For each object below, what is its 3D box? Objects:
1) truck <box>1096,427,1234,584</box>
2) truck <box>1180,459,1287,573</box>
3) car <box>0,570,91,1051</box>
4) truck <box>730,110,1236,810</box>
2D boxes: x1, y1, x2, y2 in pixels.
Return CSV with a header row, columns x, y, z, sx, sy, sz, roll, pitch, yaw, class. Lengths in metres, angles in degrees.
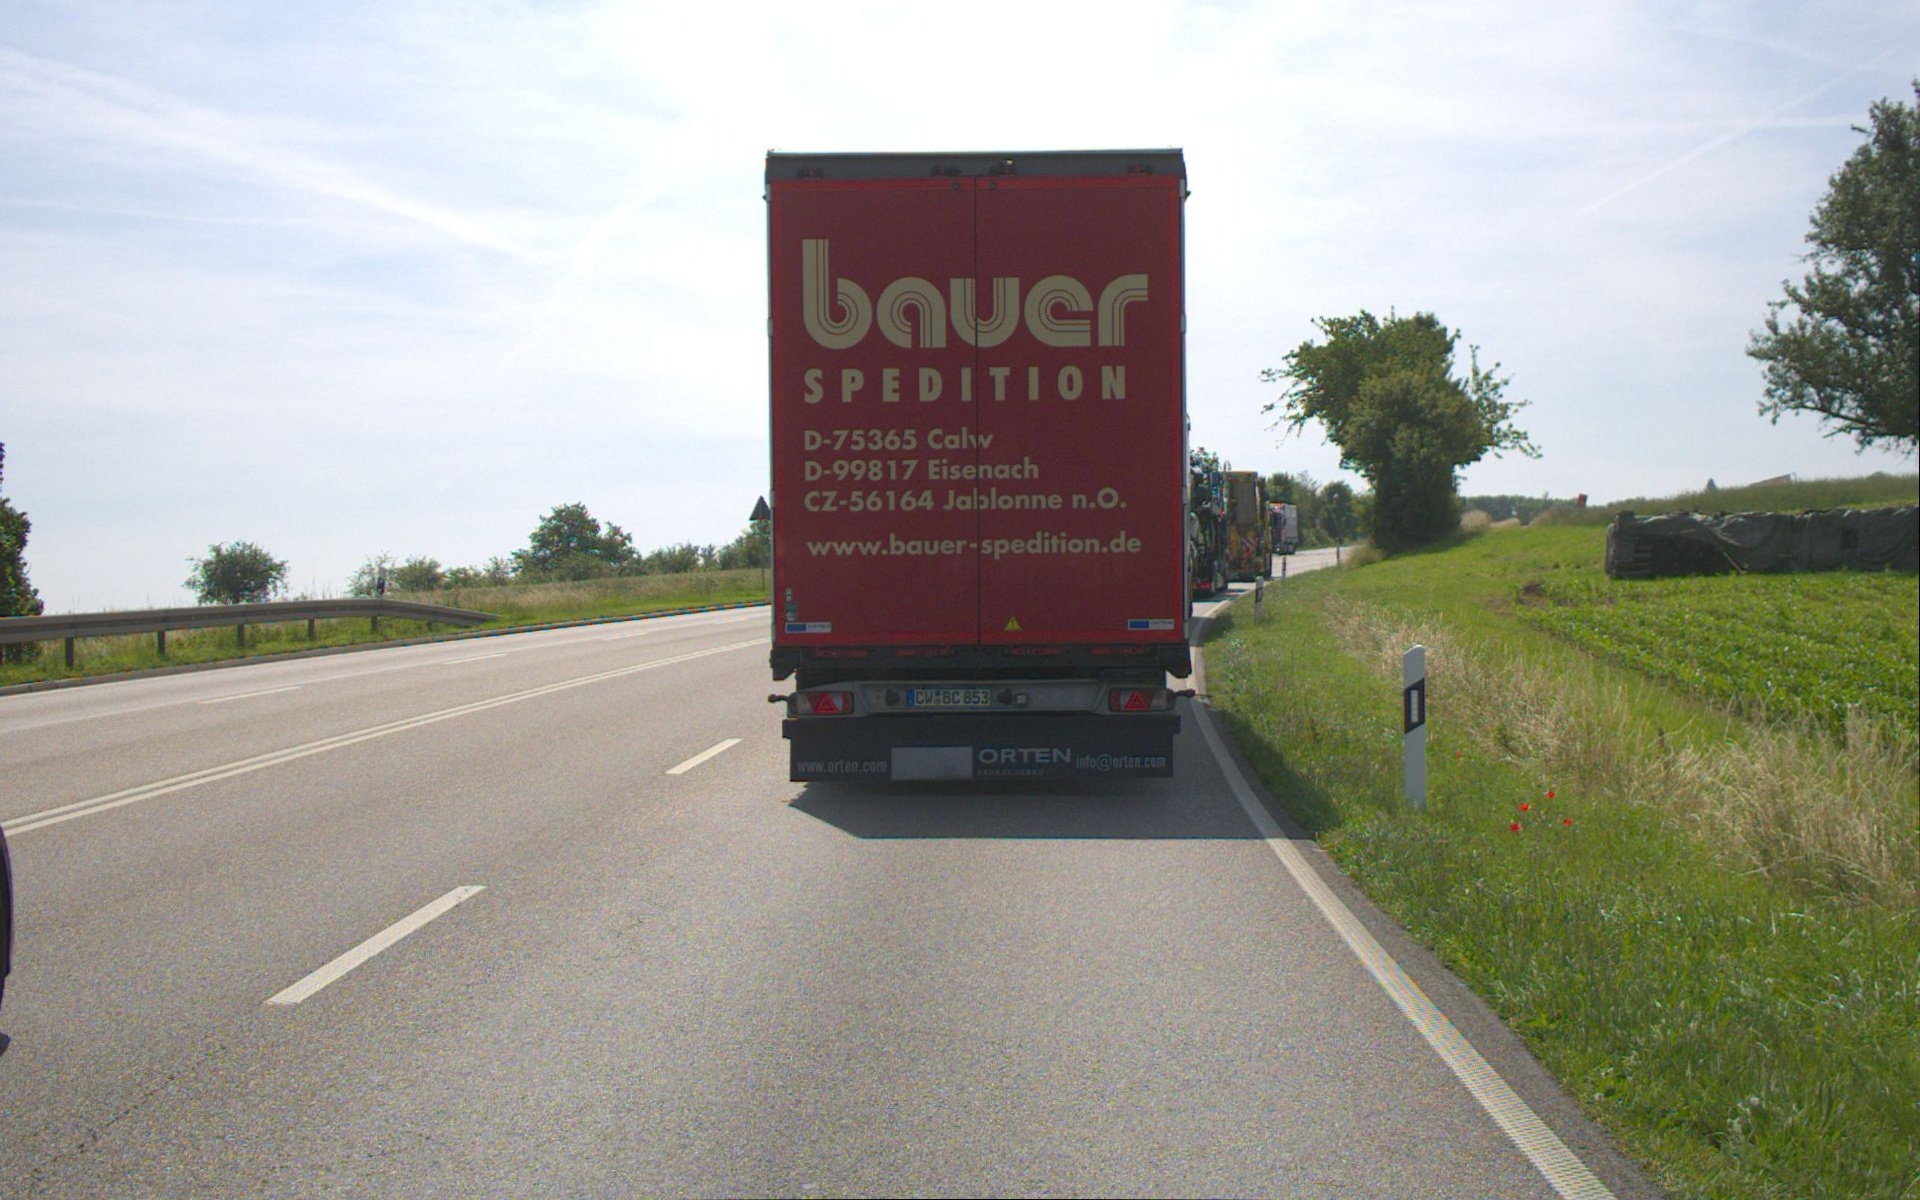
x,y,z,sx,sy,sz,roll,pitch,yaw,class
5.791,-2.530,94.520,3.047,3.897,15.612,-1,1,6,truck
10.327,-3.086,127.975,3.048,3.897,18.393,-1,1,7,truck
-3.797,0.662,9.146,1.705,1.467,4.811,0,1,0,car
0.214,-0.967,28.870,3.007,4.165,16.714,0,1,1,truck
